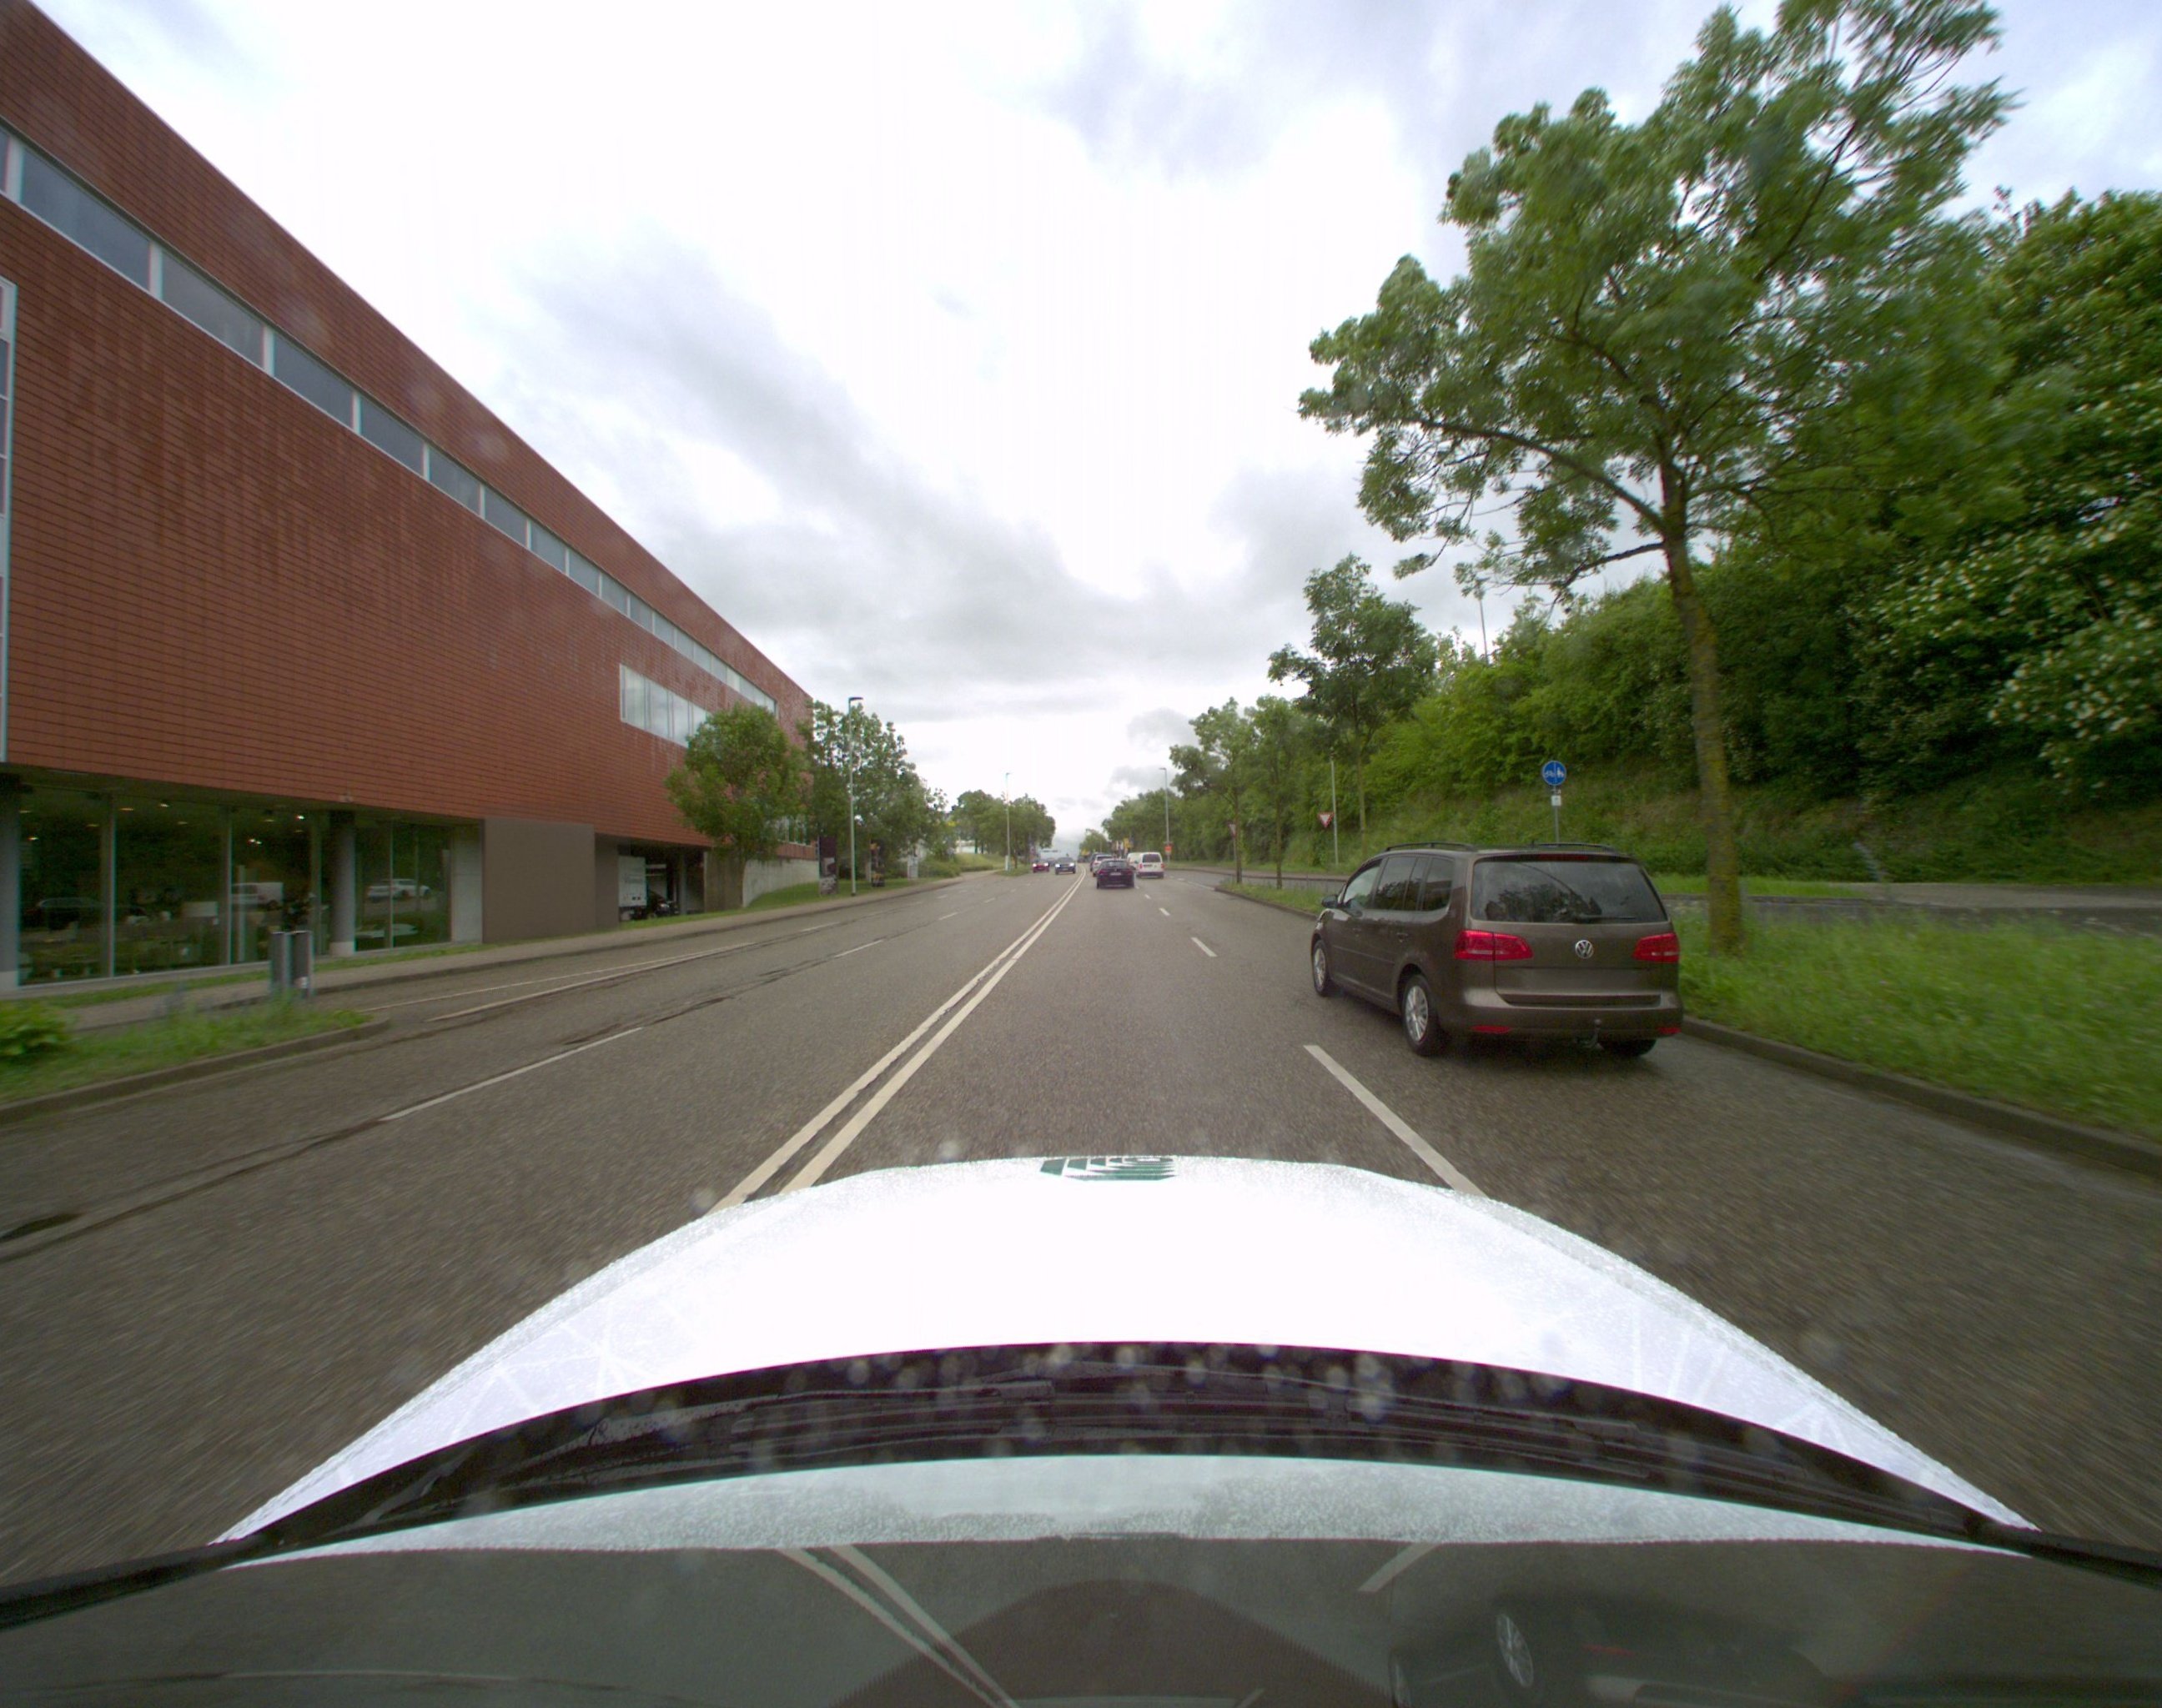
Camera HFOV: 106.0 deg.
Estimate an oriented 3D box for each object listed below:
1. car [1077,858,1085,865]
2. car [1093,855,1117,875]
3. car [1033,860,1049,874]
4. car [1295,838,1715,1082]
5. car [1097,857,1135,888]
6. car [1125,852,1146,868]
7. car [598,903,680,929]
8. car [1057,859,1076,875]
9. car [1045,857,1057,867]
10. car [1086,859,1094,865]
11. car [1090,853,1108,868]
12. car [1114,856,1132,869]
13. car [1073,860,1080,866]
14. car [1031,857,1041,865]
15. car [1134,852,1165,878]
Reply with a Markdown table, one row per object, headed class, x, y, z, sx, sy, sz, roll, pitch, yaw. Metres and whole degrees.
| class | x | y | z | sx | sy | sz | roll | pitch | yaw |
| --- | --- | --- | --- | --- | --- | --- | --- | --- | --- |
| car | -0.068 | 1.708 | 186.890 | 1.788 | 1.510 | 3.999 | 0 | -1 | 0 |
| car | 1.793 | 0.838 | 63.112 | 1.788 | 1.510 | 4.000 | 0 | -1 | 1 |
| car | -4.583 | 1.518 | 94.181 | 1.789 | 1.510 | 3.997 | 0 | -1 | -1 |
| car | 3.347 | 0.693 | 7.476 | 1.680 | 1.581 | 4.218 | -1 | 0 | 0 |
| car | 1.764 | 0.907 | 41.081 | 1.820 | 1.468 | 4.002 | -1 | 0 | 2 |
| car | 5.261 | 0.634 | 78.580 | 1.788 | 1.510 | 4.000 | 0 | -1 | 1 |
| car | -23.452 | 3.302 | 43.258 | 3.520 | 1.284 | 1.522 | 0 | -1 | 4 |
| car | -1.408 | 1.219 | 77.449 | 1.789 | 1.510 | 3.997 | 0 | -1 | -1 |
| car | -4.693 | 1.245 | 127.583 | 1.789 | 1.510 | 3.997 | 0 | -1 | -1 |
| car | 2.152 | 1.884 | 197.313 | 1.788 | 1.510 | 3.999 | 0 | -1 | 0 |
| car | 1.854 | 0.712 | 83.526 | 1.787 | 1.510 | 4.001 | 0 | -1 | 2 |
| car | 4.839 | 0.998 | 93.393 | 1.789 | 1.510 | 3.997 | 0 | -1 | -1 |
| car | -1.307 | 2.618 | 239.067 | 1.788 | 1.510 | 3.999 | 0 | -1 | 0 |
| car | -8.777 | 1.379 | 159.779 | 1.789 | 1.510 | 3.997 | 0 | -1 | -1 |
| car | 4.759 | 0.719 | 56.981 | 1.821 | 1.759 | 4.000 | 0 | 0 | 1 |
